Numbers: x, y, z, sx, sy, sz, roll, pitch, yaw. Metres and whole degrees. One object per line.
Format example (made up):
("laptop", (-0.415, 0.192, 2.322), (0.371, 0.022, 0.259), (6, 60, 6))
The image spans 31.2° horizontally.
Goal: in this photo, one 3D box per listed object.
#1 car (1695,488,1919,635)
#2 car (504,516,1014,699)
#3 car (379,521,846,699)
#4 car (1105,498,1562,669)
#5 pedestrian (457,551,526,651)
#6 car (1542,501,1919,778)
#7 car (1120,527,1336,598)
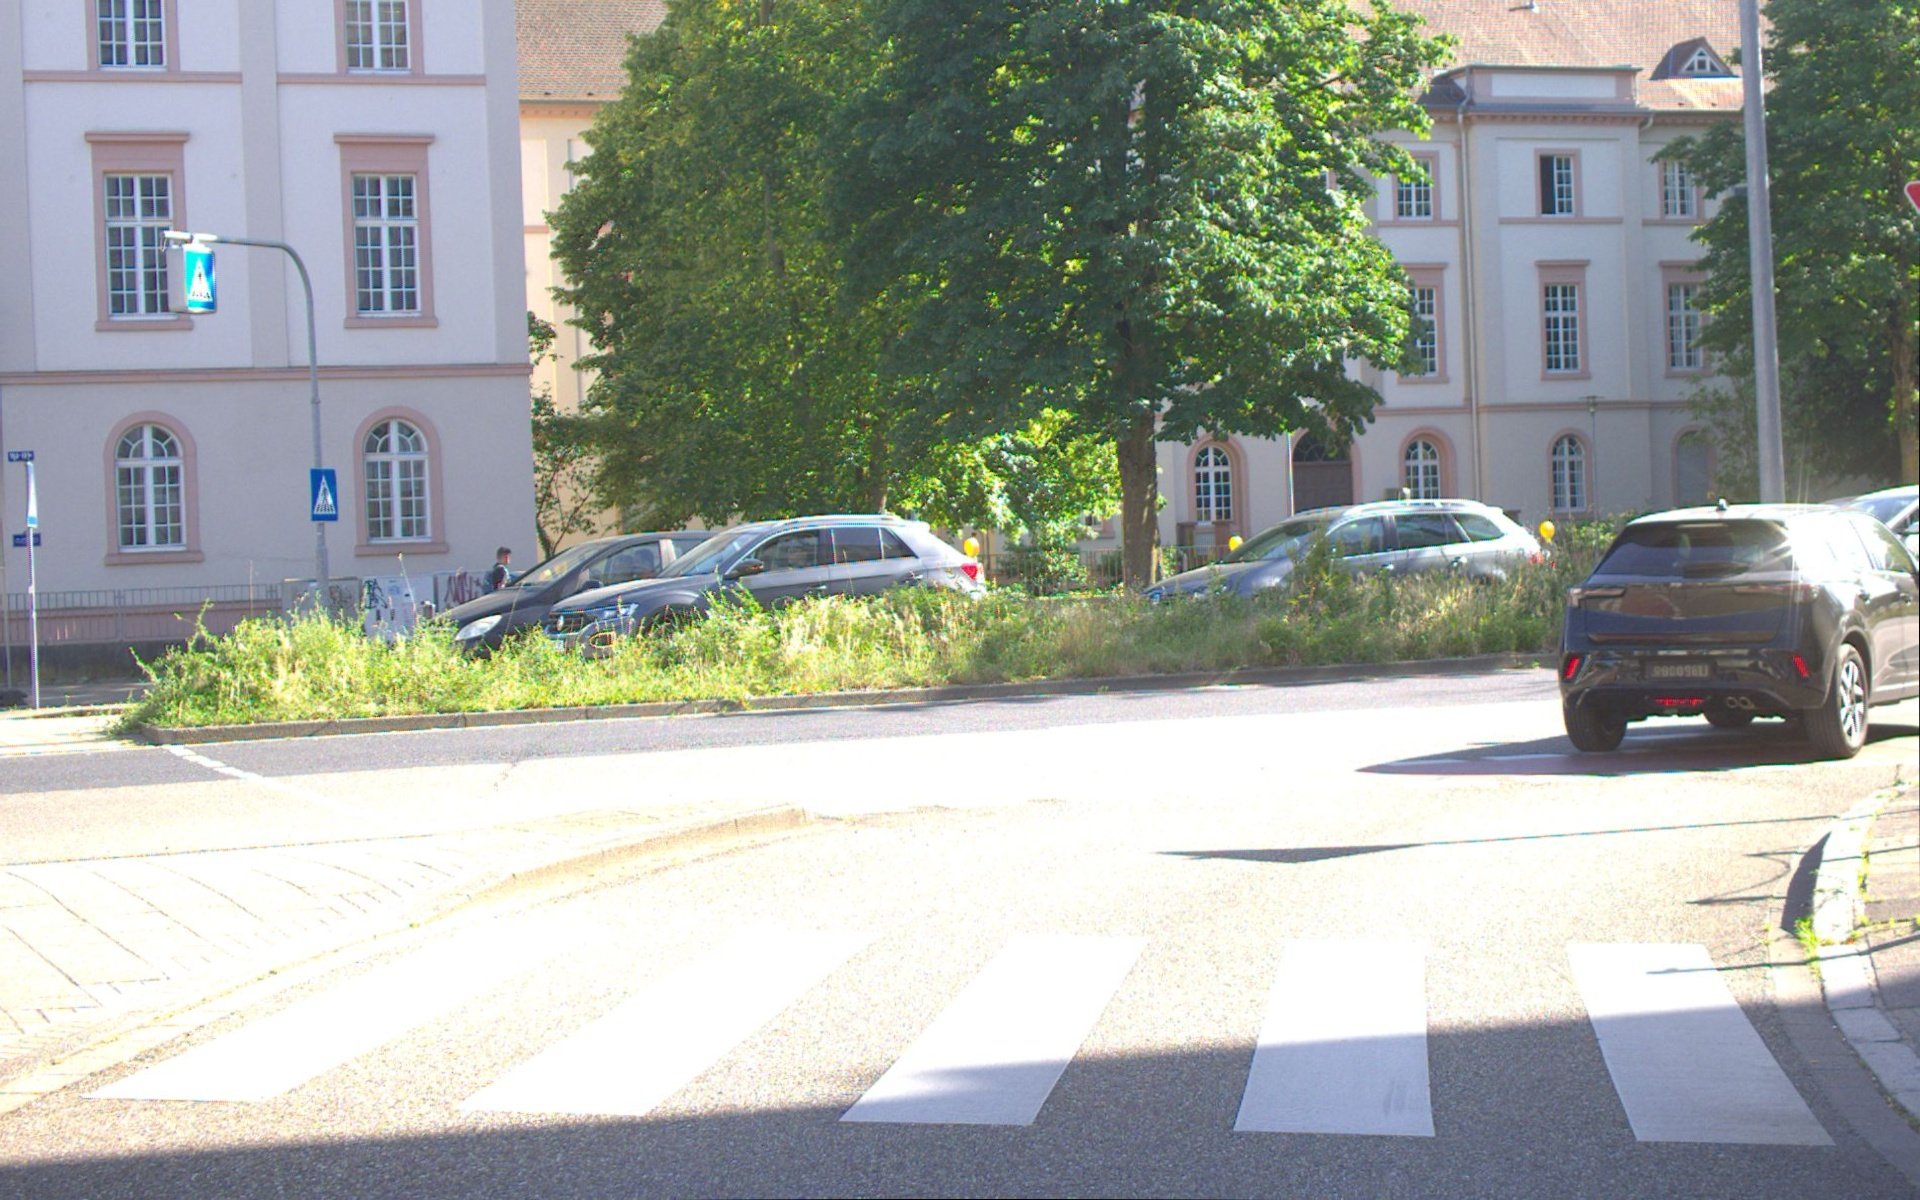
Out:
("car", (10.445, -0.473, 38.336), (4.191, 1.514, 1.802), (-3, 1, -28))
("car", (-1.842, 0.027, 31.854), (4.332, 1.514, 1.802), (-2, 2, -28))
("car", (-3.503, 0.071, 34.769), (4.264, 1.580, 1.863), (-3, 1, -28))
("car", (3.838, -0.203, 35.143), (4.349, 1.513, 1.802), (-3, 2, -28))
("pedestrian", (-7.337, 0.013, 53.812), (0.779, 1.530, 0.742), (-3, 1, -33))
("car", (5.305, 0.174, 22.136), (1.897, 1.513, 3.994), (0, 3, 28))
("car", (6.071, -0.842, 77.800), (4.669, 1.487, 1.648), (1, 0, -27))
